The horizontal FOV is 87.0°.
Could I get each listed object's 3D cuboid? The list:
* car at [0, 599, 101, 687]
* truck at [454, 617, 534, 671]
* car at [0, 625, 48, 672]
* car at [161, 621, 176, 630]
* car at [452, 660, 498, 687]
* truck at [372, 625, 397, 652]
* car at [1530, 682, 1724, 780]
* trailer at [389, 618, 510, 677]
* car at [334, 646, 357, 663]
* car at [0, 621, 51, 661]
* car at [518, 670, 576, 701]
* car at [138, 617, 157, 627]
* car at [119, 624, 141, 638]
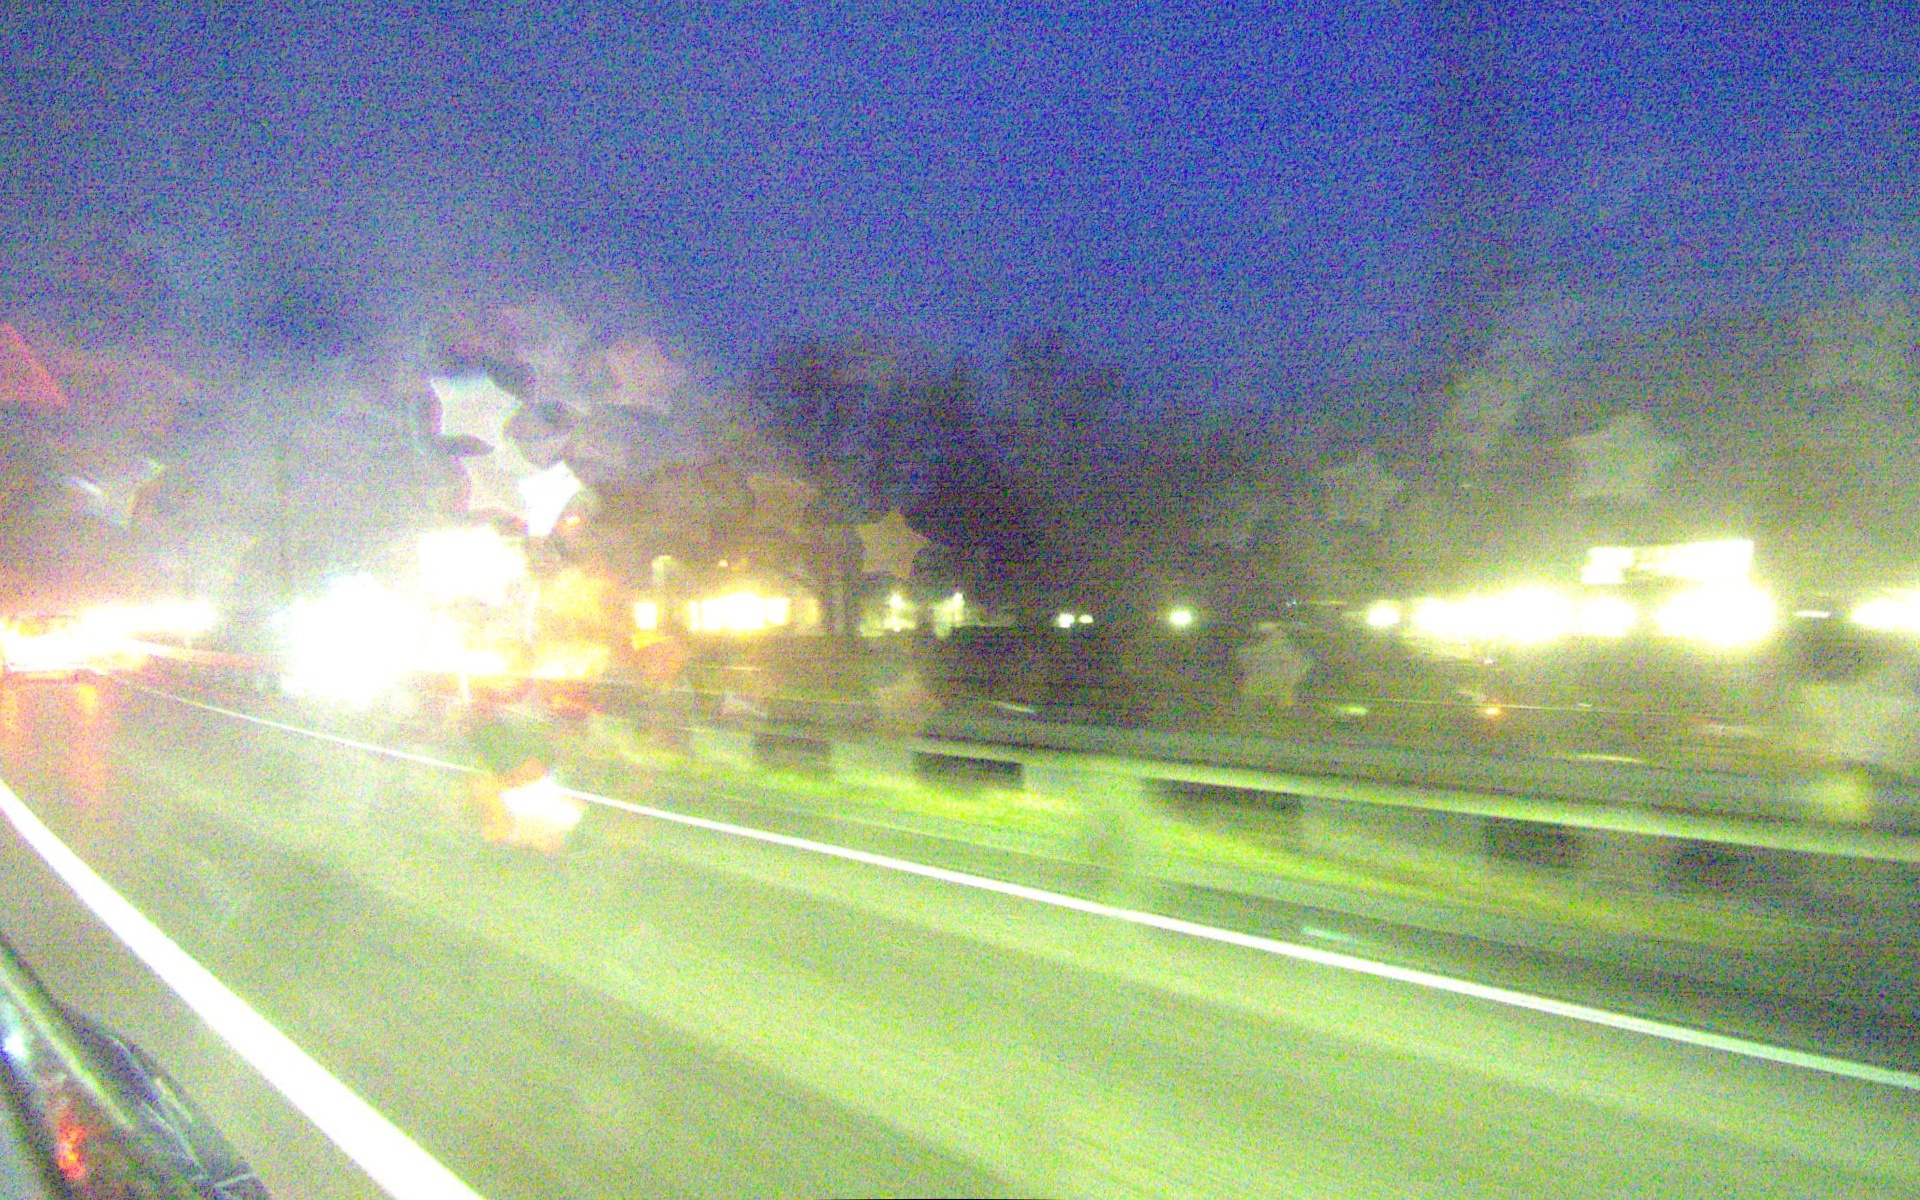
[{"bbox_3d":[-23.764,1.050,26.193,4.001,2.090,1.971,-1,-1,44],"label":"car"},{"bbox_3d":[-44.678,4.136,97.227,3.304,4.832,7.291,-1,0,12],"label":"truck"},{"bbox_3d":[-32.808,1.630,34.827,4.536,1.532,1.779,-1,-2,44],"label":"car"},{"bbox_3d":[-136.934,4.337,175.141,1.613,1.531,3.781,1,-2,-31],"label":"car"},{"bbox_3d":[-35.804,5.414,74.722,1.787,1.688,4.295,0,-1,-45],"label":"car"},{"bbox_3d":[-78.483,5.169,137.922,2.718,3.509,8.129,0,-1,-31],"label":"truck"},{"bbox_3d":[16.946,3.245,25.822,3.992,2.029,1.976,-1,-1,36],"label":"car"},{"bbox_3d":[-45.898,4.108,91.619,3.304,4.832,11.511,-1,0,12],"label":"trailer"},{"bbox_3d":[-65.839,5.812,108.410,1.784,1.688,4.302,0,-1,-37],"label":"car"},{"bbox_3d":[-41.757,1.802,45.084,3.469,1.693,1.668,-1,-1,45],"label":"car"},{"bbox_3d":[-25.389,5.238,62.131,1.787,1.582,4.295,0,-1,-45],"label":"car"},{"bbox_3d":[-118.724,3.206,147.873,1.761,1.490,3.691,0,-1,-31],"label":"car"},{"bbox_3d":[-103.786,3.845,126.544,1.784,1.688,4.304,0,-1,-34],"label":"car"}]
